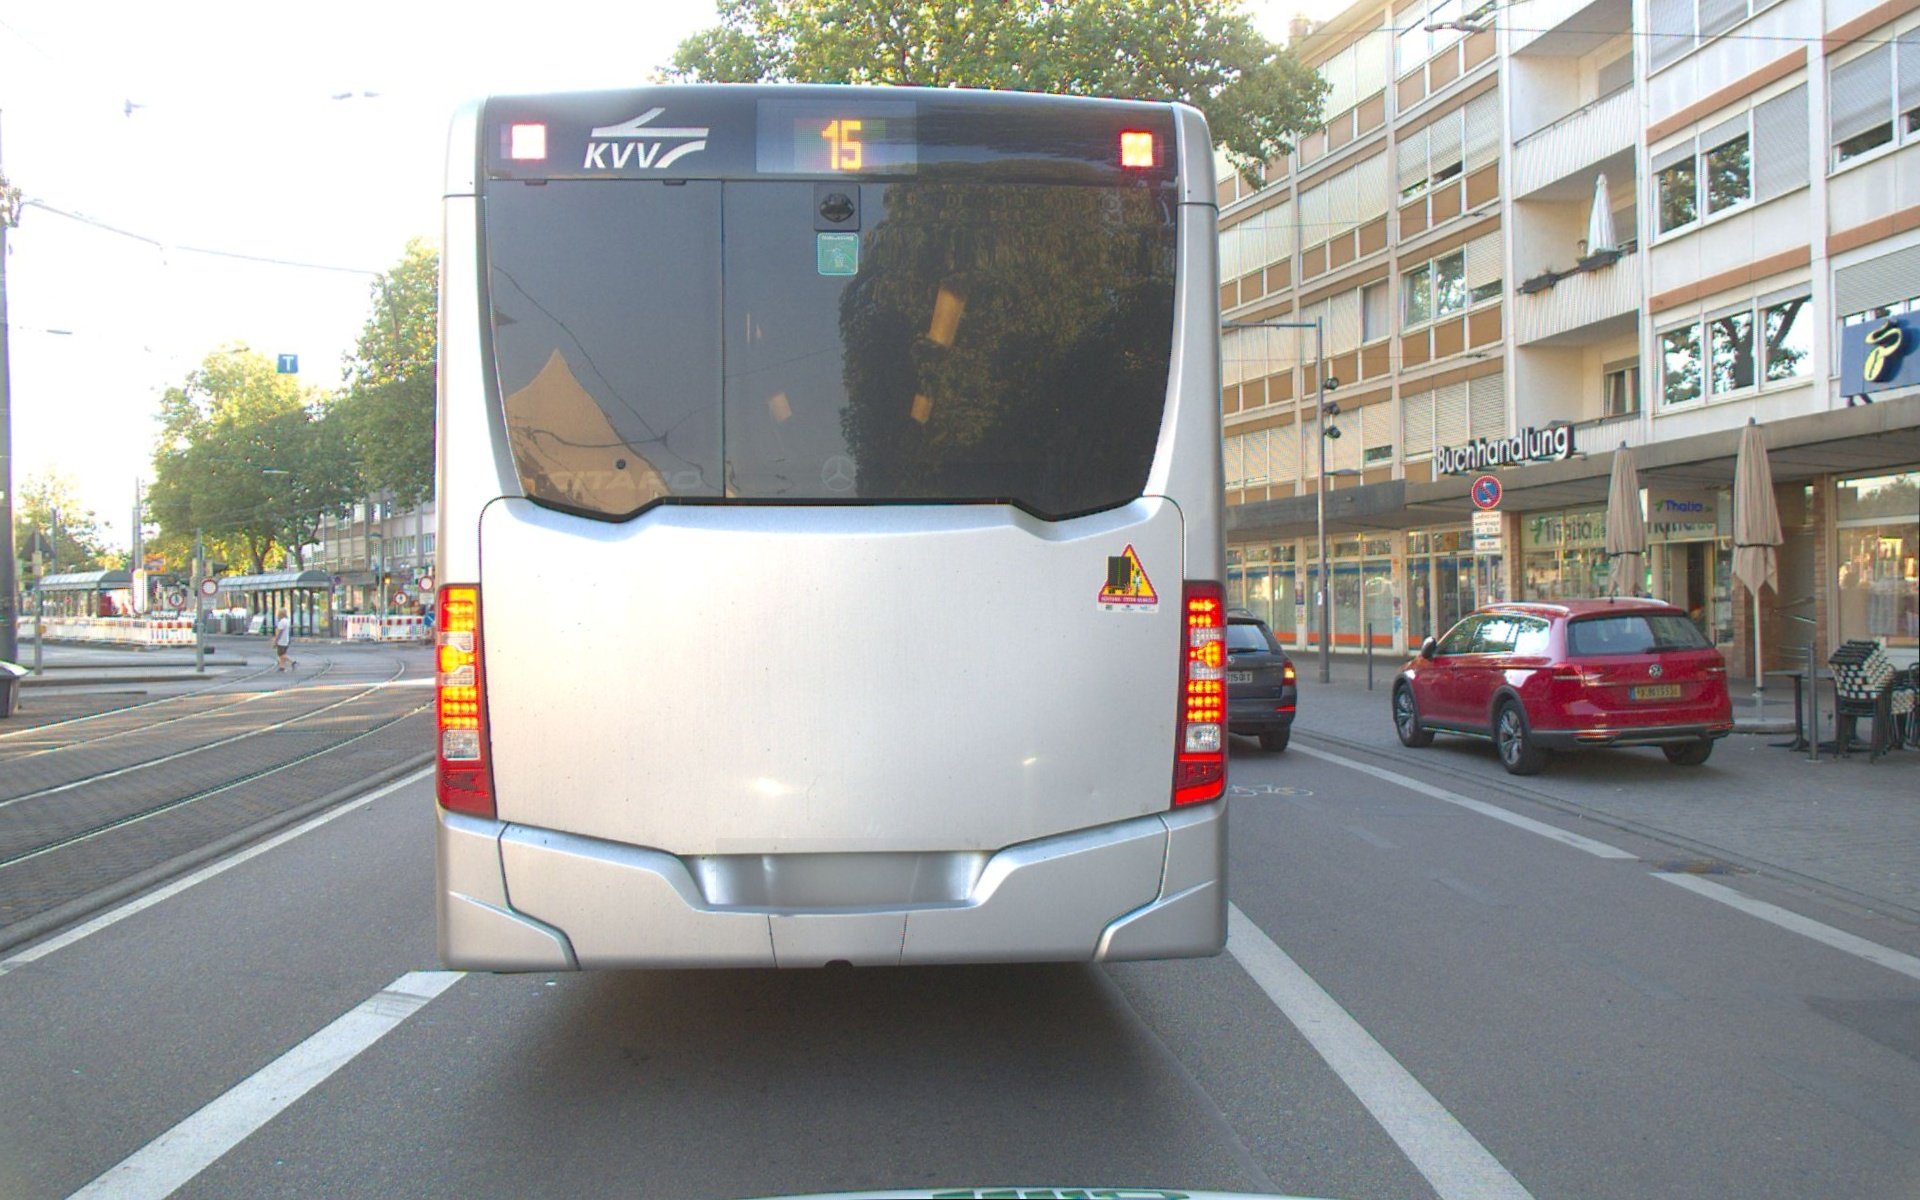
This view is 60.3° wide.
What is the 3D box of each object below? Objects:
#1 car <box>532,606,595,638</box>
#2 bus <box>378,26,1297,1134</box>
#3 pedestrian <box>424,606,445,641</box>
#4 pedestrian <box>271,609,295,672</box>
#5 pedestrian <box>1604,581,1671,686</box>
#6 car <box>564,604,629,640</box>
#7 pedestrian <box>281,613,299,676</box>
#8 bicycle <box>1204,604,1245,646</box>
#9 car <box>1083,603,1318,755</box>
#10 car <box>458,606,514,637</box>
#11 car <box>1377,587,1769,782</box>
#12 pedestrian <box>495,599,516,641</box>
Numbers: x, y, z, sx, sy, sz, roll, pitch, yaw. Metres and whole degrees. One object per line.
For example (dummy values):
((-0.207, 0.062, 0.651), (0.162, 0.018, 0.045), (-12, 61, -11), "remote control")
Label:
((-19.338, 1.079, 80.658), (1.652, 1.419, 3.364), (-5, 3, -39), "car")
((-0.565, -0.048, 9.881), (2.605, 3.153, 10.210), (-1, 0, -3), "bus")
((-20.629, 0.923, 64.927), (0.766, 1.326, 0.590), (-1, 0, -22), "pedestrian")
((-16.568, 0.985, 40.478), (0.513, 1.530, 0.589), (-1, 0, -23), "pedestrian")
((10.473, 0.512, 25.578), (0.627, 1.579, 0.806), (-1, 0, -8), "pedestrian")
((-17.014, 1.018, 77.378), (1.650, 1.542, 3.367), (-5, 3, -37), "car")
((-16.683, 1.105, 41.194), (0.402, 1.530, 0.513), (-1, 0, -23), "pedestrian")
((7.273, 0.688, 45.541), (0.431, 1.111, 1.453), (-3, 1, -20), "bicycle")
((2.540, 0.790, 18.406), (1.768, 1.499, 4.068), (0, 0, -4), "car")
((-25.113, 1.105, 87.628), (1.651, 1.494, 3.365), (-5, 3, -38), "car")
((5.685, 0.703, 16.049), (1.744, 1.522, 4.563), (-3, 0, -5), "car")
((-18.917, 0.837, 68.824), (0.704, 1.755, 0.399), (-1, 0, 12), "pedestrian")
